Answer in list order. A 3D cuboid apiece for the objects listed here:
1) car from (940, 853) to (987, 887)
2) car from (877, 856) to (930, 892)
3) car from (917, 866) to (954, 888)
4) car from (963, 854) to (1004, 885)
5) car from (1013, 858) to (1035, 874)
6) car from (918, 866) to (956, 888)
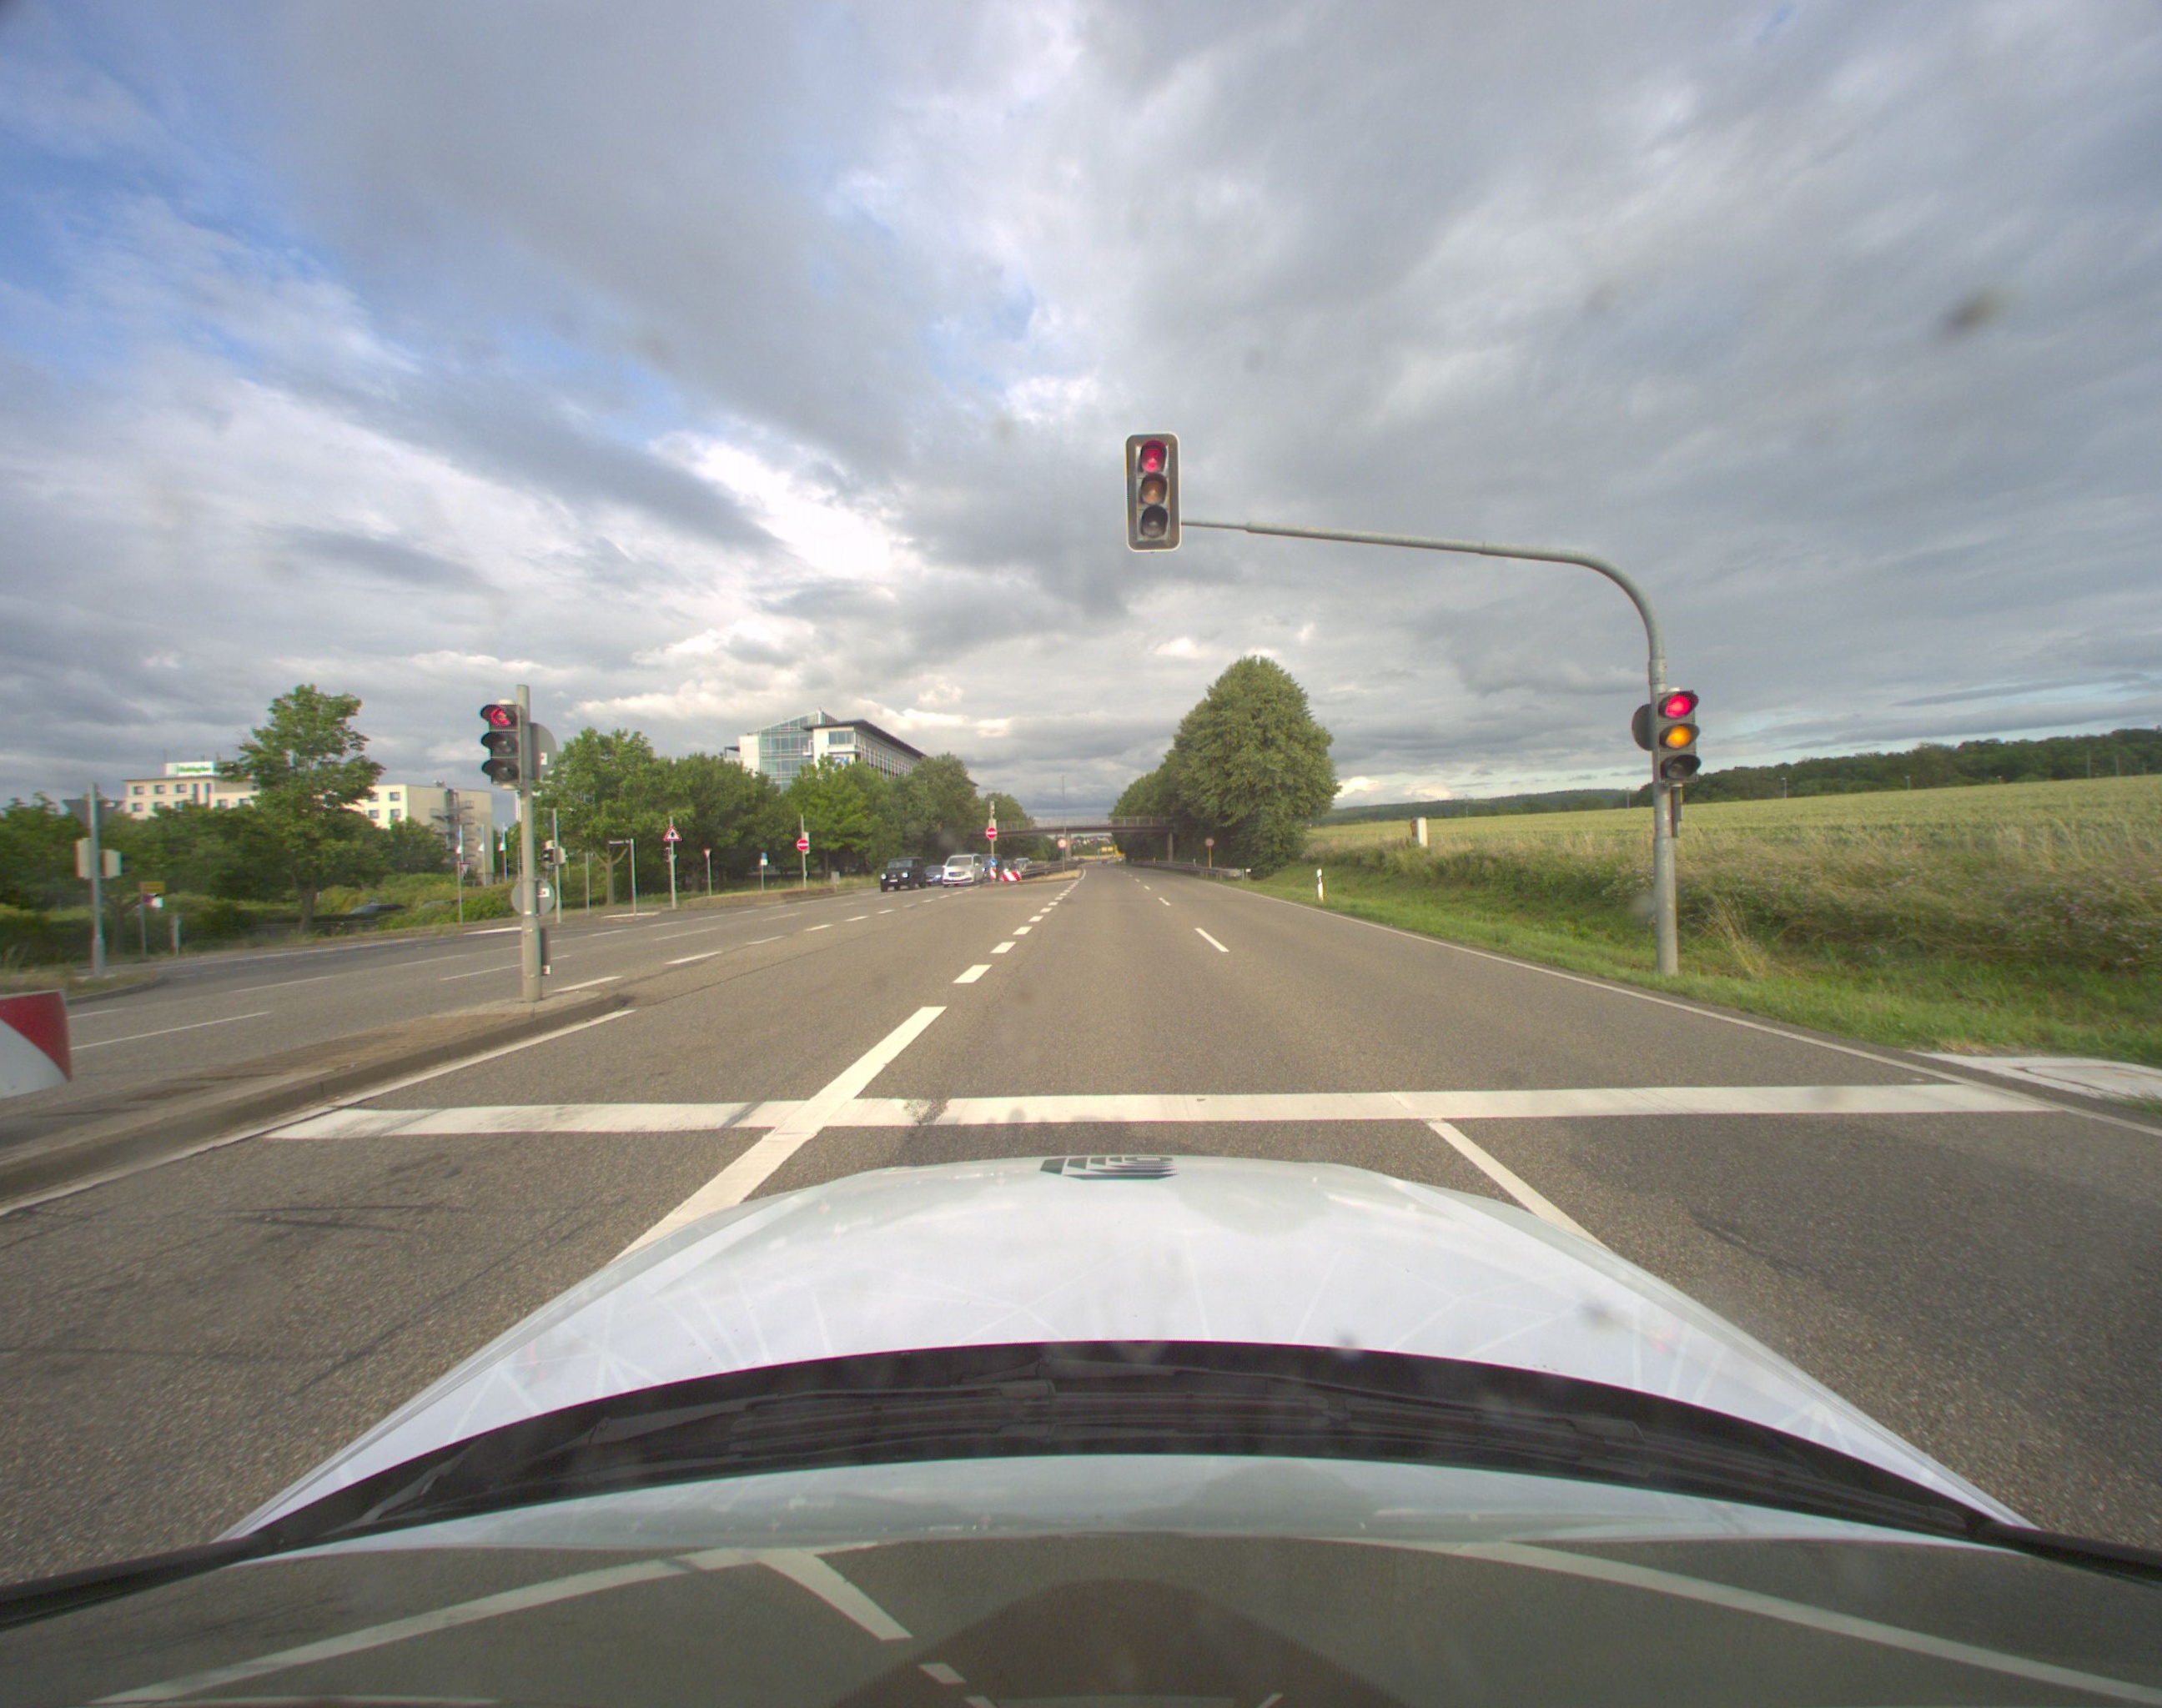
[{"bbox_3d":[-7.134,0.947,49.879,1.927,1.872,5.348,-3,-1,1],"label":"car"},{"bbox_3d":[-10.777,1.190,49.829,1.927,1.990,5.092,-3,-1,1],"label":"car"},{"bbox_3d":[-10.075,1.567,56.662,1.715,1.240,4.001,-5,0,1],"label":"car"},{"bbox_3d":[-6.798,1.032,57.361,1.891,1.916,5.053,-5,-1,2],"label":"car"},{"bbox_3d":[-5.969,1.252,85.700,1.816,1.584,4.791,-3,0,1],"label":"car"},{"bbox_3d":[-9.954,1.572,56.682,1.641,1.388,4.188,-3,-1,2],"label":"car"}]
